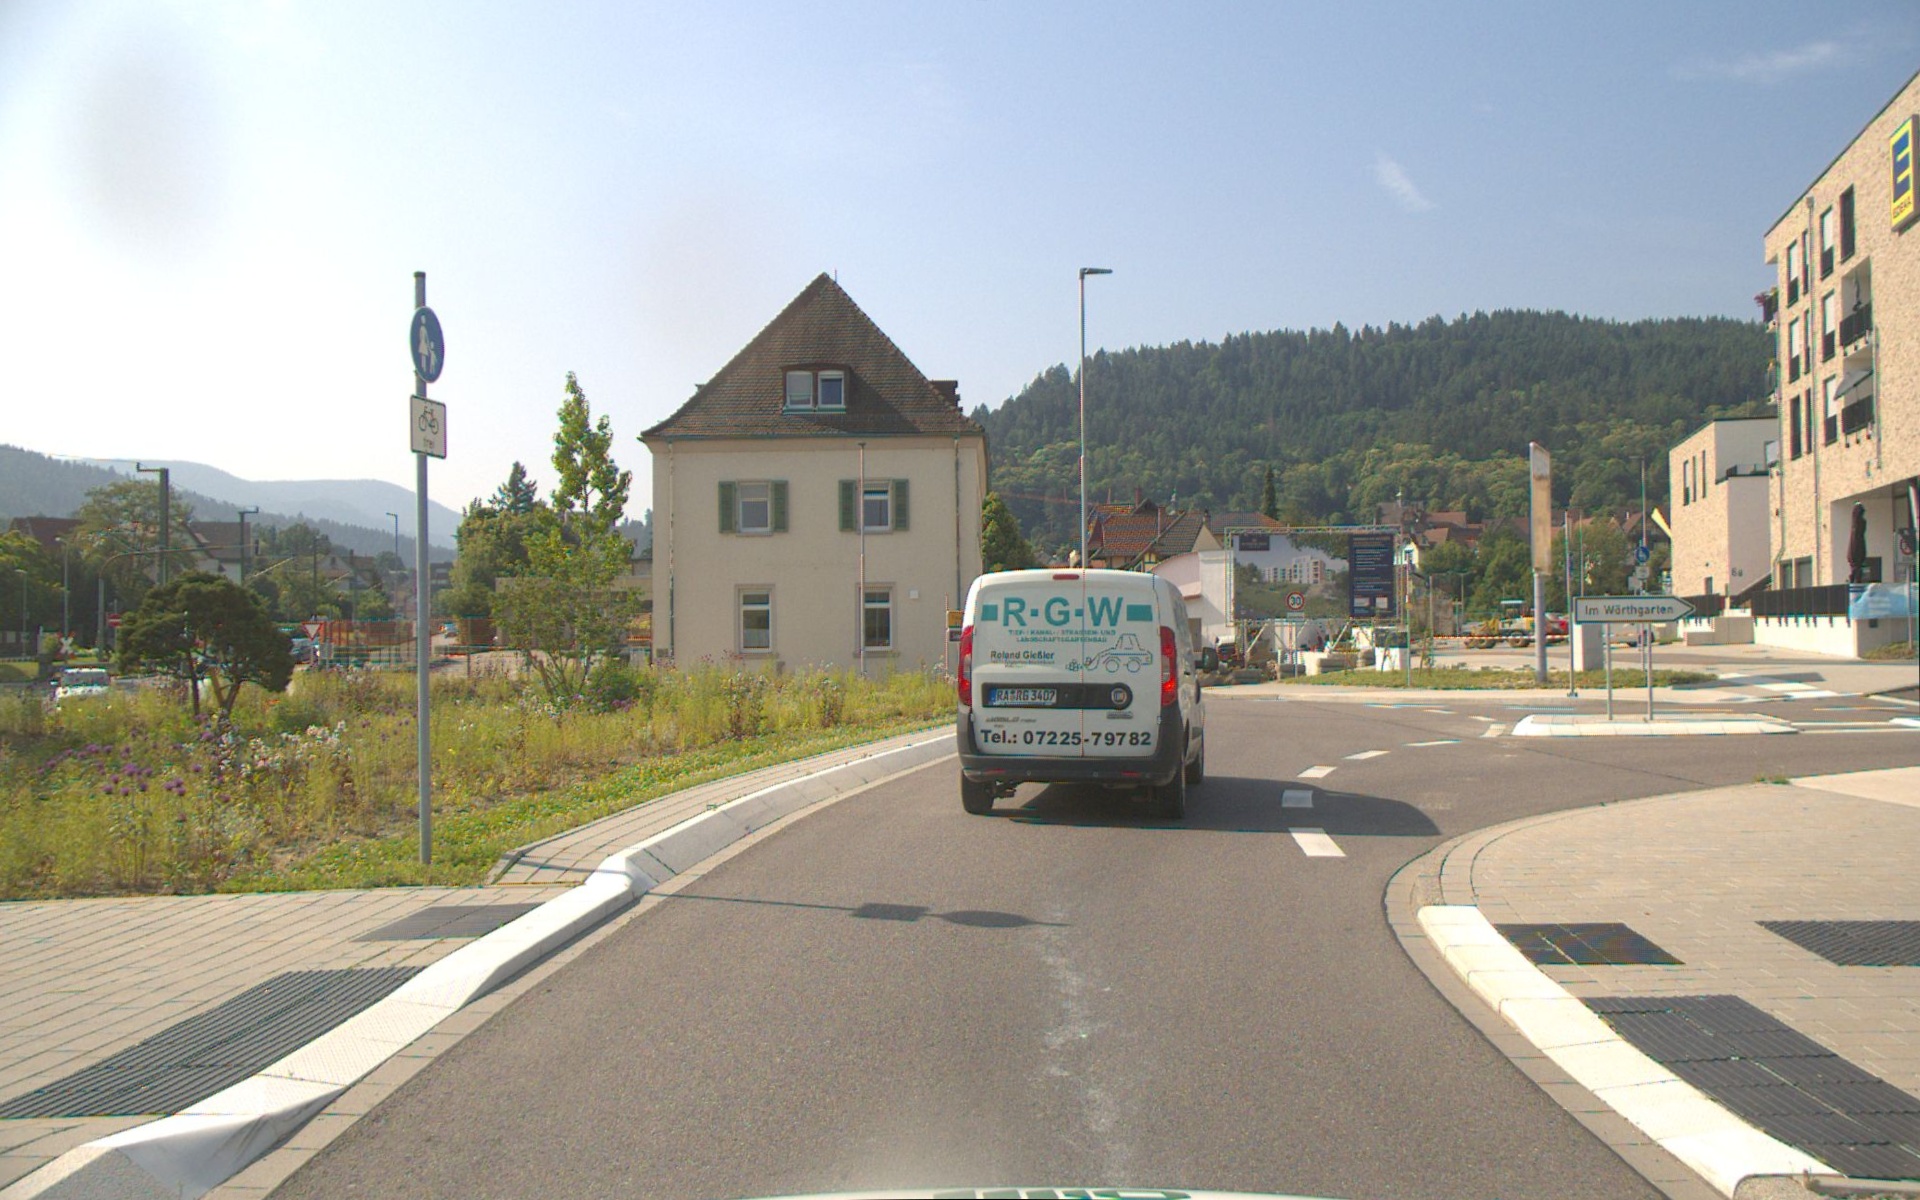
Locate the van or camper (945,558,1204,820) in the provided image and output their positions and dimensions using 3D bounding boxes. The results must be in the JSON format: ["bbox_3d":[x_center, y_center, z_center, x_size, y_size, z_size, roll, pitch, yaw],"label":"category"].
[{"bbox_3d":[1.122,0.705,14.069,1.789,1.877,4.191,0,-2,10],"label":"van or camper"}]

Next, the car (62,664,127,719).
[{"bbox_3d":[-26.823,2.808,51.316,1.650,1.558,3.966,-1,-1,-26],"label":"car"}]

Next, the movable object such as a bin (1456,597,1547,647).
[{"bbox_3d":[30.532,1.252,93.254,4.522,2.615,1.923,-3,-2,27],"label":"movable object such as a bin"}]

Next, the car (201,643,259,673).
[{"bbox_3d":[-38.189,3.024,86.620,1.676,1.422,3.993,2,0,-7],"label":"car"}]

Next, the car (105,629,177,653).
[{"bbox_3d":[-53.834,2.676,108.767,3.918,1.422,1.709,2,0,-13],"label":"car"}]

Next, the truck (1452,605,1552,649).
[{"bbox_3d":[31.679,1.608,96.721,5.211,2.305,2.216,-3,-2,27],"label":"truck"}]

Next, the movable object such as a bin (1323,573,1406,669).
[{"bbox_3d":[17.622,0.991,72.425,2.247,3.922,7.802,1,-2,5],"label":"movable object such as a bin"}]

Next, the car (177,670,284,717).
[{"bbox_3d":[-25.802,3.274,58.492,3.920,1.422,1.708,1,0,36],"label":"car"}]

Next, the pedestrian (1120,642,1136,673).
[{"bbox_3d":[9.546,3.253,93.988,0.870,1.713,0.718,1,-2,1],"label":"pedestrian"}]

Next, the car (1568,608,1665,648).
[{"bbox_3d":[27.284,1.180,68.776,3.335,1.521,1.594,-2,-3,0],"label":"car"}]
